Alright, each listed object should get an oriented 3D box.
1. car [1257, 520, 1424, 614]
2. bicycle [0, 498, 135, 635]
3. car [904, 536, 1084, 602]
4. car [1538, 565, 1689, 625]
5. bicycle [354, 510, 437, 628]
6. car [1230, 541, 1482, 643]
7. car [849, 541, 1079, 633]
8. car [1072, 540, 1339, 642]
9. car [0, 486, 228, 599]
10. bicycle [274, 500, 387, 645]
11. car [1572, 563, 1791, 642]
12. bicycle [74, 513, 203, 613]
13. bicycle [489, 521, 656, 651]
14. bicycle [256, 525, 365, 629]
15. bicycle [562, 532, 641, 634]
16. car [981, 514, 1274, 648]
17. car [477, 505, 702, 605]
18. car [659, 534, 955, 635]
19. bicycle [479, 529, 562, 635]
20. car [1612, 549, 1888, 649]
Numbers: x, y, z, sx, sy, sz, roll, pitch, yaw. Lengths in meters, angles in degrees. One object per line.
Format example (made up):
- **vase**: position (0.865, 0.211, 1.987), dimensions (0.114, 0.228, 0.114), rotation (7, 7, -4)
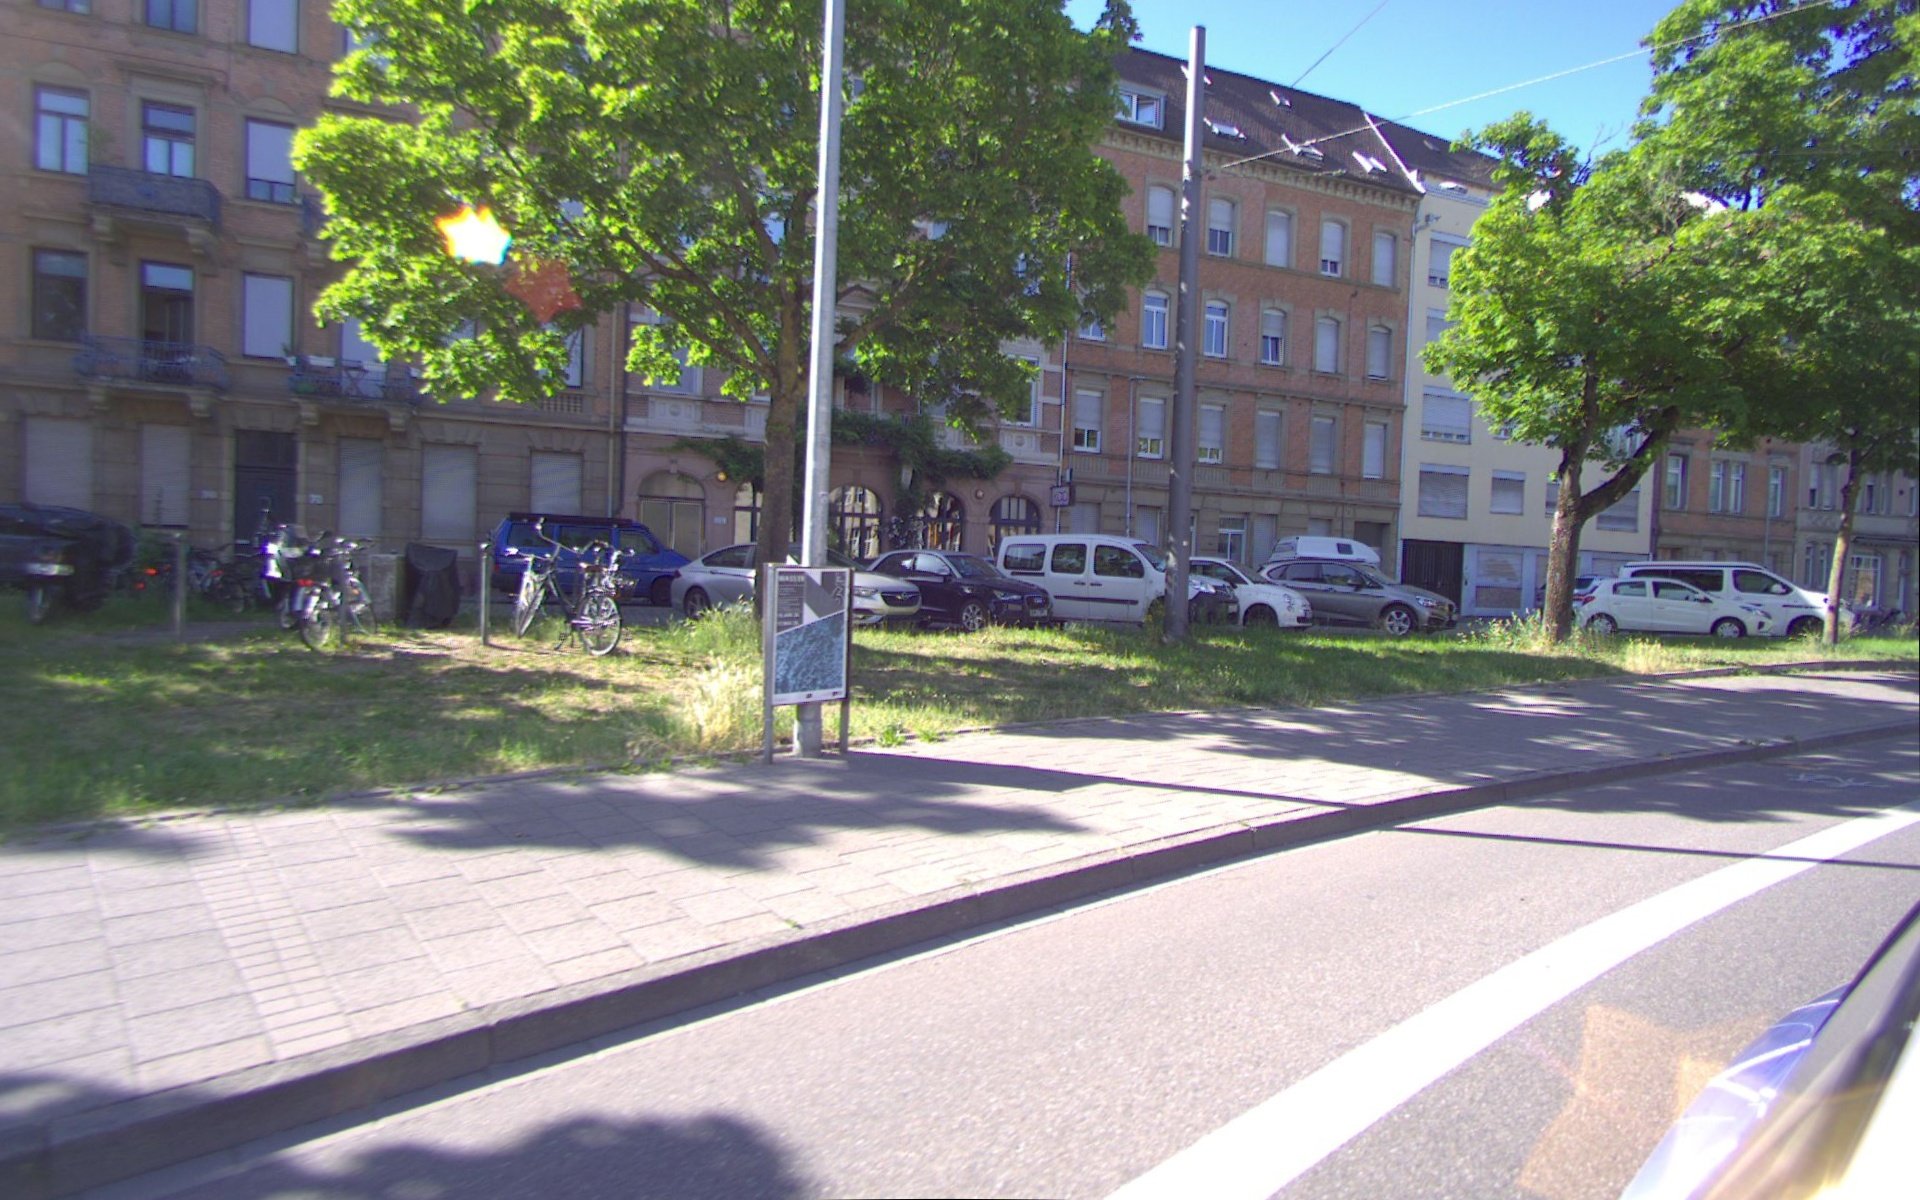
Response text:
- **car**: position (11.753, -1.024, 31.346), dimensions (4.417, 2.616, 2.006), rotation (2, 3, -19)
- **bicycle**: position (-10.099, -0.389, 11.526), dimensions (0.772, 1.415, 2.102), rotation (1, 2, -31)
- **car**: position (0.919, -0.841, 27.555), dimensions (4.418, 1.547, 2.005), rotation (2, 3, -24)
- **car**: position (22.721, -0.189, 35.214), dimensions (4.529, 1.821, 2.006), rotation (2, 3, -21)
- **bicycle**: position (-7.203, -0.405, 12.995), dimensions (0.771, 1.381, 2.104), rotation (1, 2, -25)
- **car**: position (8.233, -0.260, 21.286), dimensions (4.496, 1.748, 1.971), rotation (6, 5, 41)
- **car**: position (0.028, -0.269, 17.713), dimensions (3.594, 1.397, 1.900), rotation (3, 2, 37)
- **car**: position (4.889, -0.277, 20.620), dimensions (4.862, 1.667, 2.070), rotation (6, 5, 41)
- **car**: position (-17.471, -1.153, 19.864), dimensions (4.624, 2.001, 2.006), rotation (2, 3, -20)
- **bicycle**: position (-6.630, -0.305, 10.760), dimensions (0.771, 1.381, 2.104), rotation (1, 2, -25)
- **car**: position (16.986, -0.013, 24.004), dimensions (4.009, 1.496, 1.789), rotation (5, 5, 37)
- **bicycle**: position (-12.088, -0.555, 14.871), dimensions (2.082, 1.381, 0.779), rotation (2, 2, 30)
- **bicycle**: position (-4.268, -0.175, 11.159), dimensions (1.578, 1.305, 0.765), rotation (3, 2, 20)
- **bicycle**: position (-8.059, -0.302, 12.647), dimensions (0.805, 1.172, 2.174), rotation (1, 2, -24)
- **bicycle**: position (-4.628, -0.258, 13.028), dimensions (0.881, 1.194, 1.956), rotation (1, 3, -21)
- **car**: position (2.986, -0.458, 18.610), dimensions (4.854, 2.037, 2.074), rotation (5, 4, 36)
- **car**: position (-8.475, -1.033, 23.401), dimensions (4.624, 2.001, 2.006), rotation (2, 3, -20)
- **car**: position (-2.578, -0.315, 16.441), dimensions (4.726, 1.397, 2.019), rotation (3, 2, 37)
- **bicycle**: position (-5.453, -0.266, 12.652), dimensions (0.824, 1.206, 1.969), rotation (1, 3, -21)
- **car**: position (19.582, -0.137, 25.332), dimensions (5.168, 2.037, 2.070), rotation (6, 5, 41)
